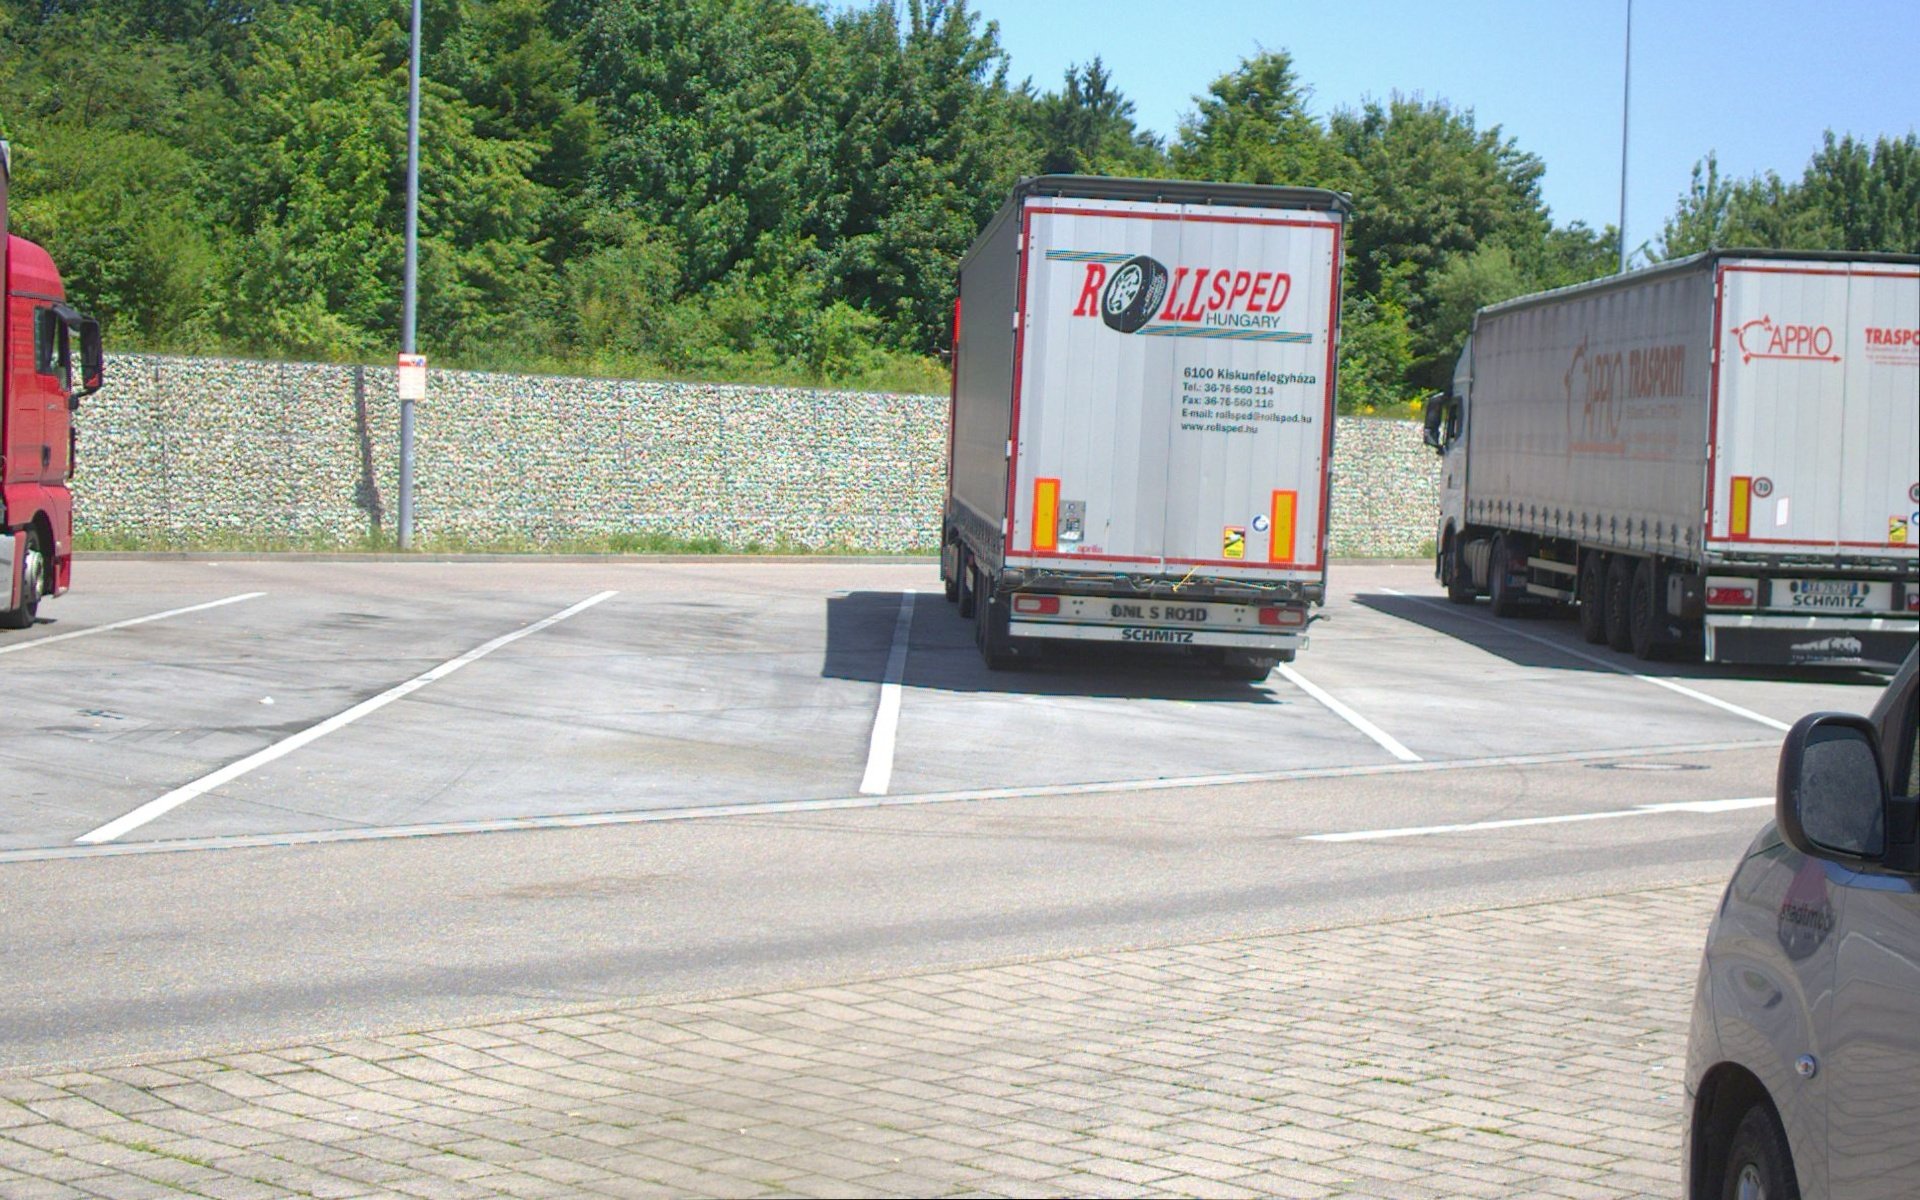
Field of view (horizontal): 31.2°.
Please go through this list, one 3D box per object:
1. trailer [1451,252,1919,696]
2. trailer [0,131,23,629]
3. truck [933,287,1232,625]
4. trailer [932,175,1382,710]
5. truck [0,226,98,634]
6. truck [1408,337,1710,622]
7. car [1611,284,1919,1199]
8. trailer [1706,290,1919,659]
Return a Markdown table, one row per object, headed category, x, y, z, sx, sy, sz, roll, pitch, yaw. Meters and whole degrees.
| category | x | y | z | sx | sy | sz | roll | pitch | yaw |
| --- | --- | --- | --- | --- | --- | --- | --- | --- | --- |
| trailer | 8.118 | -1.517 | 38.698 | 2.811 | 3.976 | 14.396 | 2 | 3 | -1 |
| trailer | -9.192 | -1.483 | 21.538 | 2.791 | 4.071 | 14.133 | 2 | 3 | -1 |
| truck | 1.315 | -1.728 | 40.479 | 3.103 | 3.554 | 5.900 | 2 | 3 | -1 |
| trailer | 1.451 | -1.587 | 33.586 | 3.133 | 3.976 | 14.397 | 2 | 3 | -1 |
| truck | -9.235 | -1.438 | 28.112 | 2.851 | 3.316 | 5.900 | 2 | 3 | -1 |
| truck | 8.026 | -1.692 | 46.798 | 2.862 | 3.509 | 5.900 | 2 | 3 | -1 |
| car | 2.149 | 0.587 | 3.817 | 1.869 | 1.857 | 4.177 | 2 | 2 | -2 |
| trailer | 11.759 | -1.450 | 39.750 | 2.811 | 3.976 | 14.396 | 2 | 3 | -1 |
